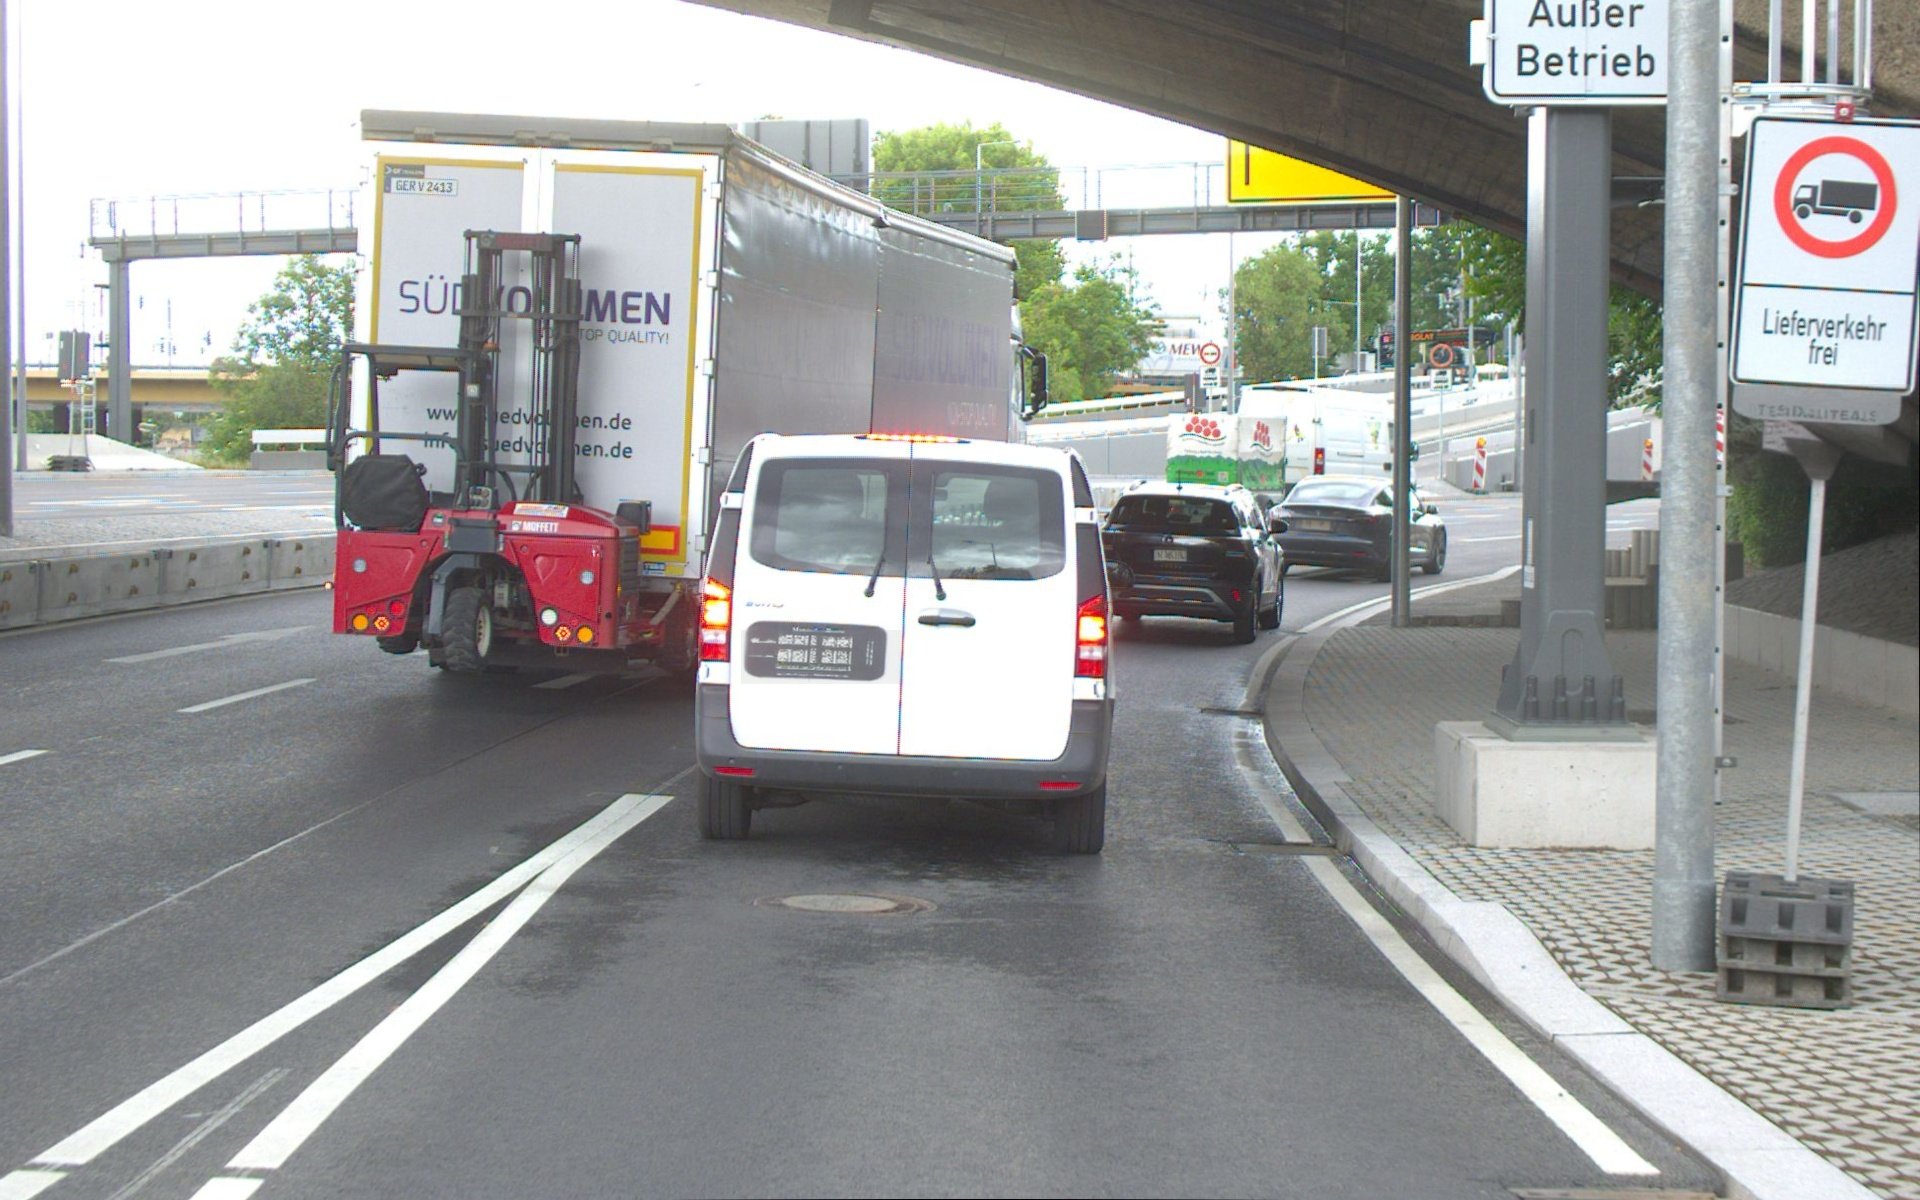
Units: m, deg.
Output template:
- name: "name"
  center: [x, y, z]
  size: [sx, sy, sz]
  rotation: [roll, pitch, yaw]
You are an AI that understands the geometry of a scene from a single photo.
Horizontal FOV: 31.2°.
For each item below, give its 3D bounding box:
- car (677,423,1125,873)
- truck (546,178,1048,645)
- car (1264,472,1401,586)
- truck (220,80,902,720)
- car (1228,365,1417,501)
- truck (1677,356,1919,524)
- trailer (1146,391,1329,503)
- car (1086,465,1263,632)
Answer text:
- name: "car"
  center: [-0.212, 0.147, 17.106]
  size: [1.876, 1.884, 4.753]
  rotation: [1, 1, 1]
- name: "truck"
  center: [-1.377, -1.977, 37.089]
  size: [2.989, 4.161, 11.238]
  rotation: [3, 3, 9]
- name: "car"
  center: [5.330, -0.988, 48.921]
  size: [1.502, 1.464, 3.397]
  rotation: [4, 1, 12]
- name: "truck"
  center: [-2.687, -1.520, 27.237]
  size: [2.918, 4.002, 10.199]
  rotation: [3, 3, 7]
- name: "car"
  center: [7.260, -3.311, 68.400]
  size: [1.996, 2.532, 5.167]
  rotation: [4, 4, 26]
- name: "truck"
  center: [22.575, -4.014, 87.433]
  size: [3.322, 3.796, 16.566]
  rotation: [4, 4, 30]
- name: "trailer"
  center: [5.219, -2.863, 64.265]
  size: [1.996, 1.950, 4.073]
  rotation: [4, 4, 26]
- name: "car"
  center: [2.309, -0.593, 36.258]
  size: [1.750, 1.619, 3.844]
  rotation: [0, 3, 5]
